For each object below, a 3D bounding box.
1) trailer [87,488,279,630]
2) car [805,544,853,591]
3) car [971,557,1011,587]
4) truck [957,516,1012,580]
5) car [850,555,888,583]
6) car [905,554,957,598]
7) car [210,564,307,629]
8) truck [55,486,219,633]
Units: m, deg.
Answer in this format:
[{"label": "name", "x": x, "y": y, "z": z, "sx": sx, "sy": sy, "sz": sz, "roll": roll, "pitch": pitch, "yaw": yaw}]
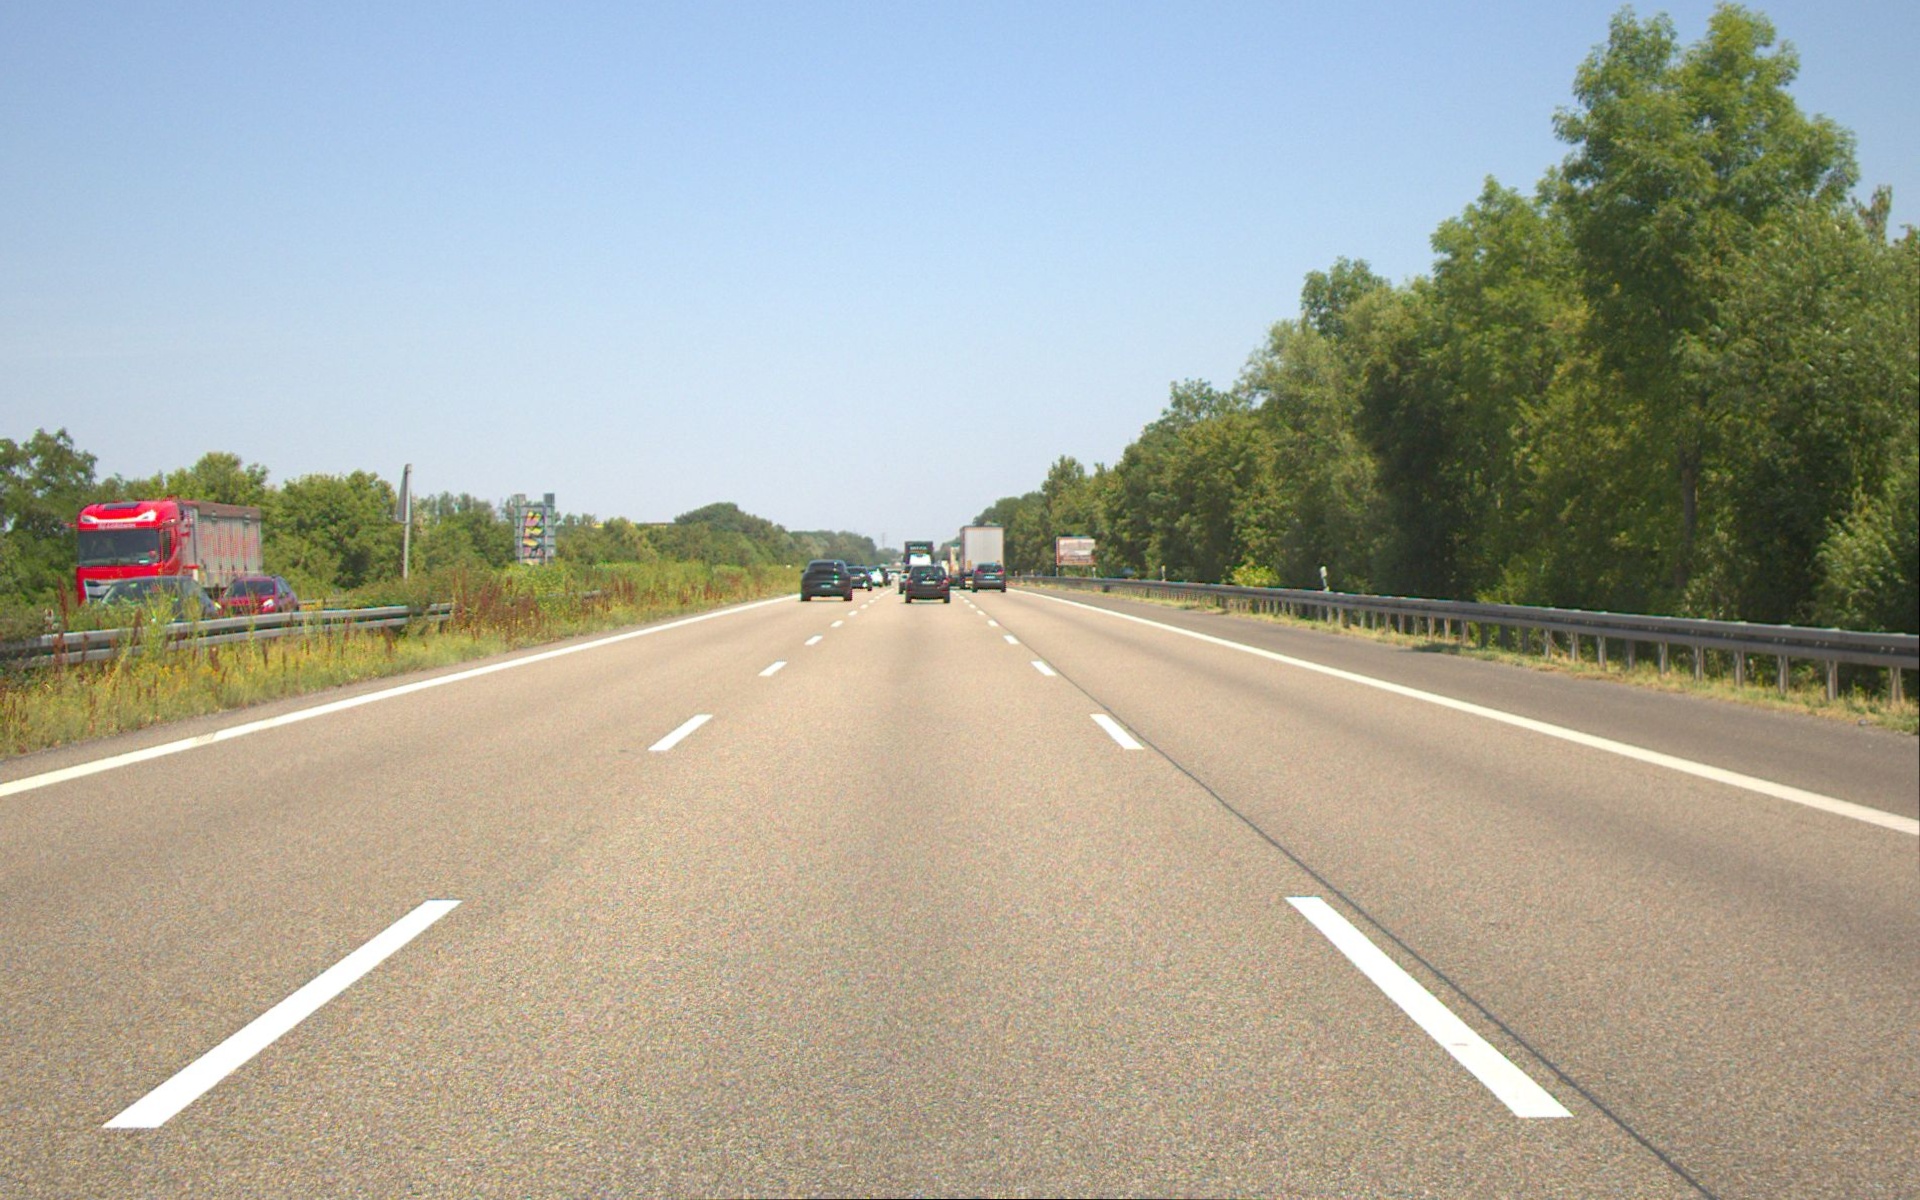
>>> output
[{"label": "trailer", "x": -22.542, "y": -1.203, "z": 100.456, "sx": 3.078, "sy": 3.856, "sz": 10.907, "roll": -1, "pitch": 1, "yaw": 0}, {"label": "car", "x": -5.237, "y": -1.323, "z": 138.042, "sx": 1.880, "sy": 1.786, "sz": 4.001, "roll": 0, "pitch": 2, "yaw": -2}, {"label": "car", "x": 1.712, "y": -1.566, "z": 189.444, "sx": 2.128, "sy": 1.578, "sz": 4.304, "roll": -1, "pitch": 1, "yaw": 0}, {"label": "truck", "x": 1.532, "y": -3.352, "z": 220.557, "sx": 3.385, "sy": 3.957, "sz": 9.537, "roll": -1, "pitch": 1, "yaw": 0}, {"label": "car", "x": -5.435, "y": -1.860, "z": 205.624, "sx": 2.128, "sy": 1.640, "sz": 4.304, "roll": -1, "pitch": 1, "yaw": 0}, {"label": "car", "x": -1.070, "y": -0.914, "z": 129.558, "sx": 1.903, "sy": 1.578, "sz": 4.304, "roll": -1, "pitch": 1, "yaw": 0}, {"label": "car", "x": -18.469, "y": -0.105, "z": 90.665, "sx": 1.653, "sy": 1.639, "sz": 4.333, "roll": -1, "pitch": 1, "yaw": 0}, {"label": "truck", "x": -22.569, "y": -1.126, "z": 94.568, "sx": 3.078, "sy": 3.856, "sz": 5.591, "roll": -1, "pitch": 1, "yaw": 0}]
